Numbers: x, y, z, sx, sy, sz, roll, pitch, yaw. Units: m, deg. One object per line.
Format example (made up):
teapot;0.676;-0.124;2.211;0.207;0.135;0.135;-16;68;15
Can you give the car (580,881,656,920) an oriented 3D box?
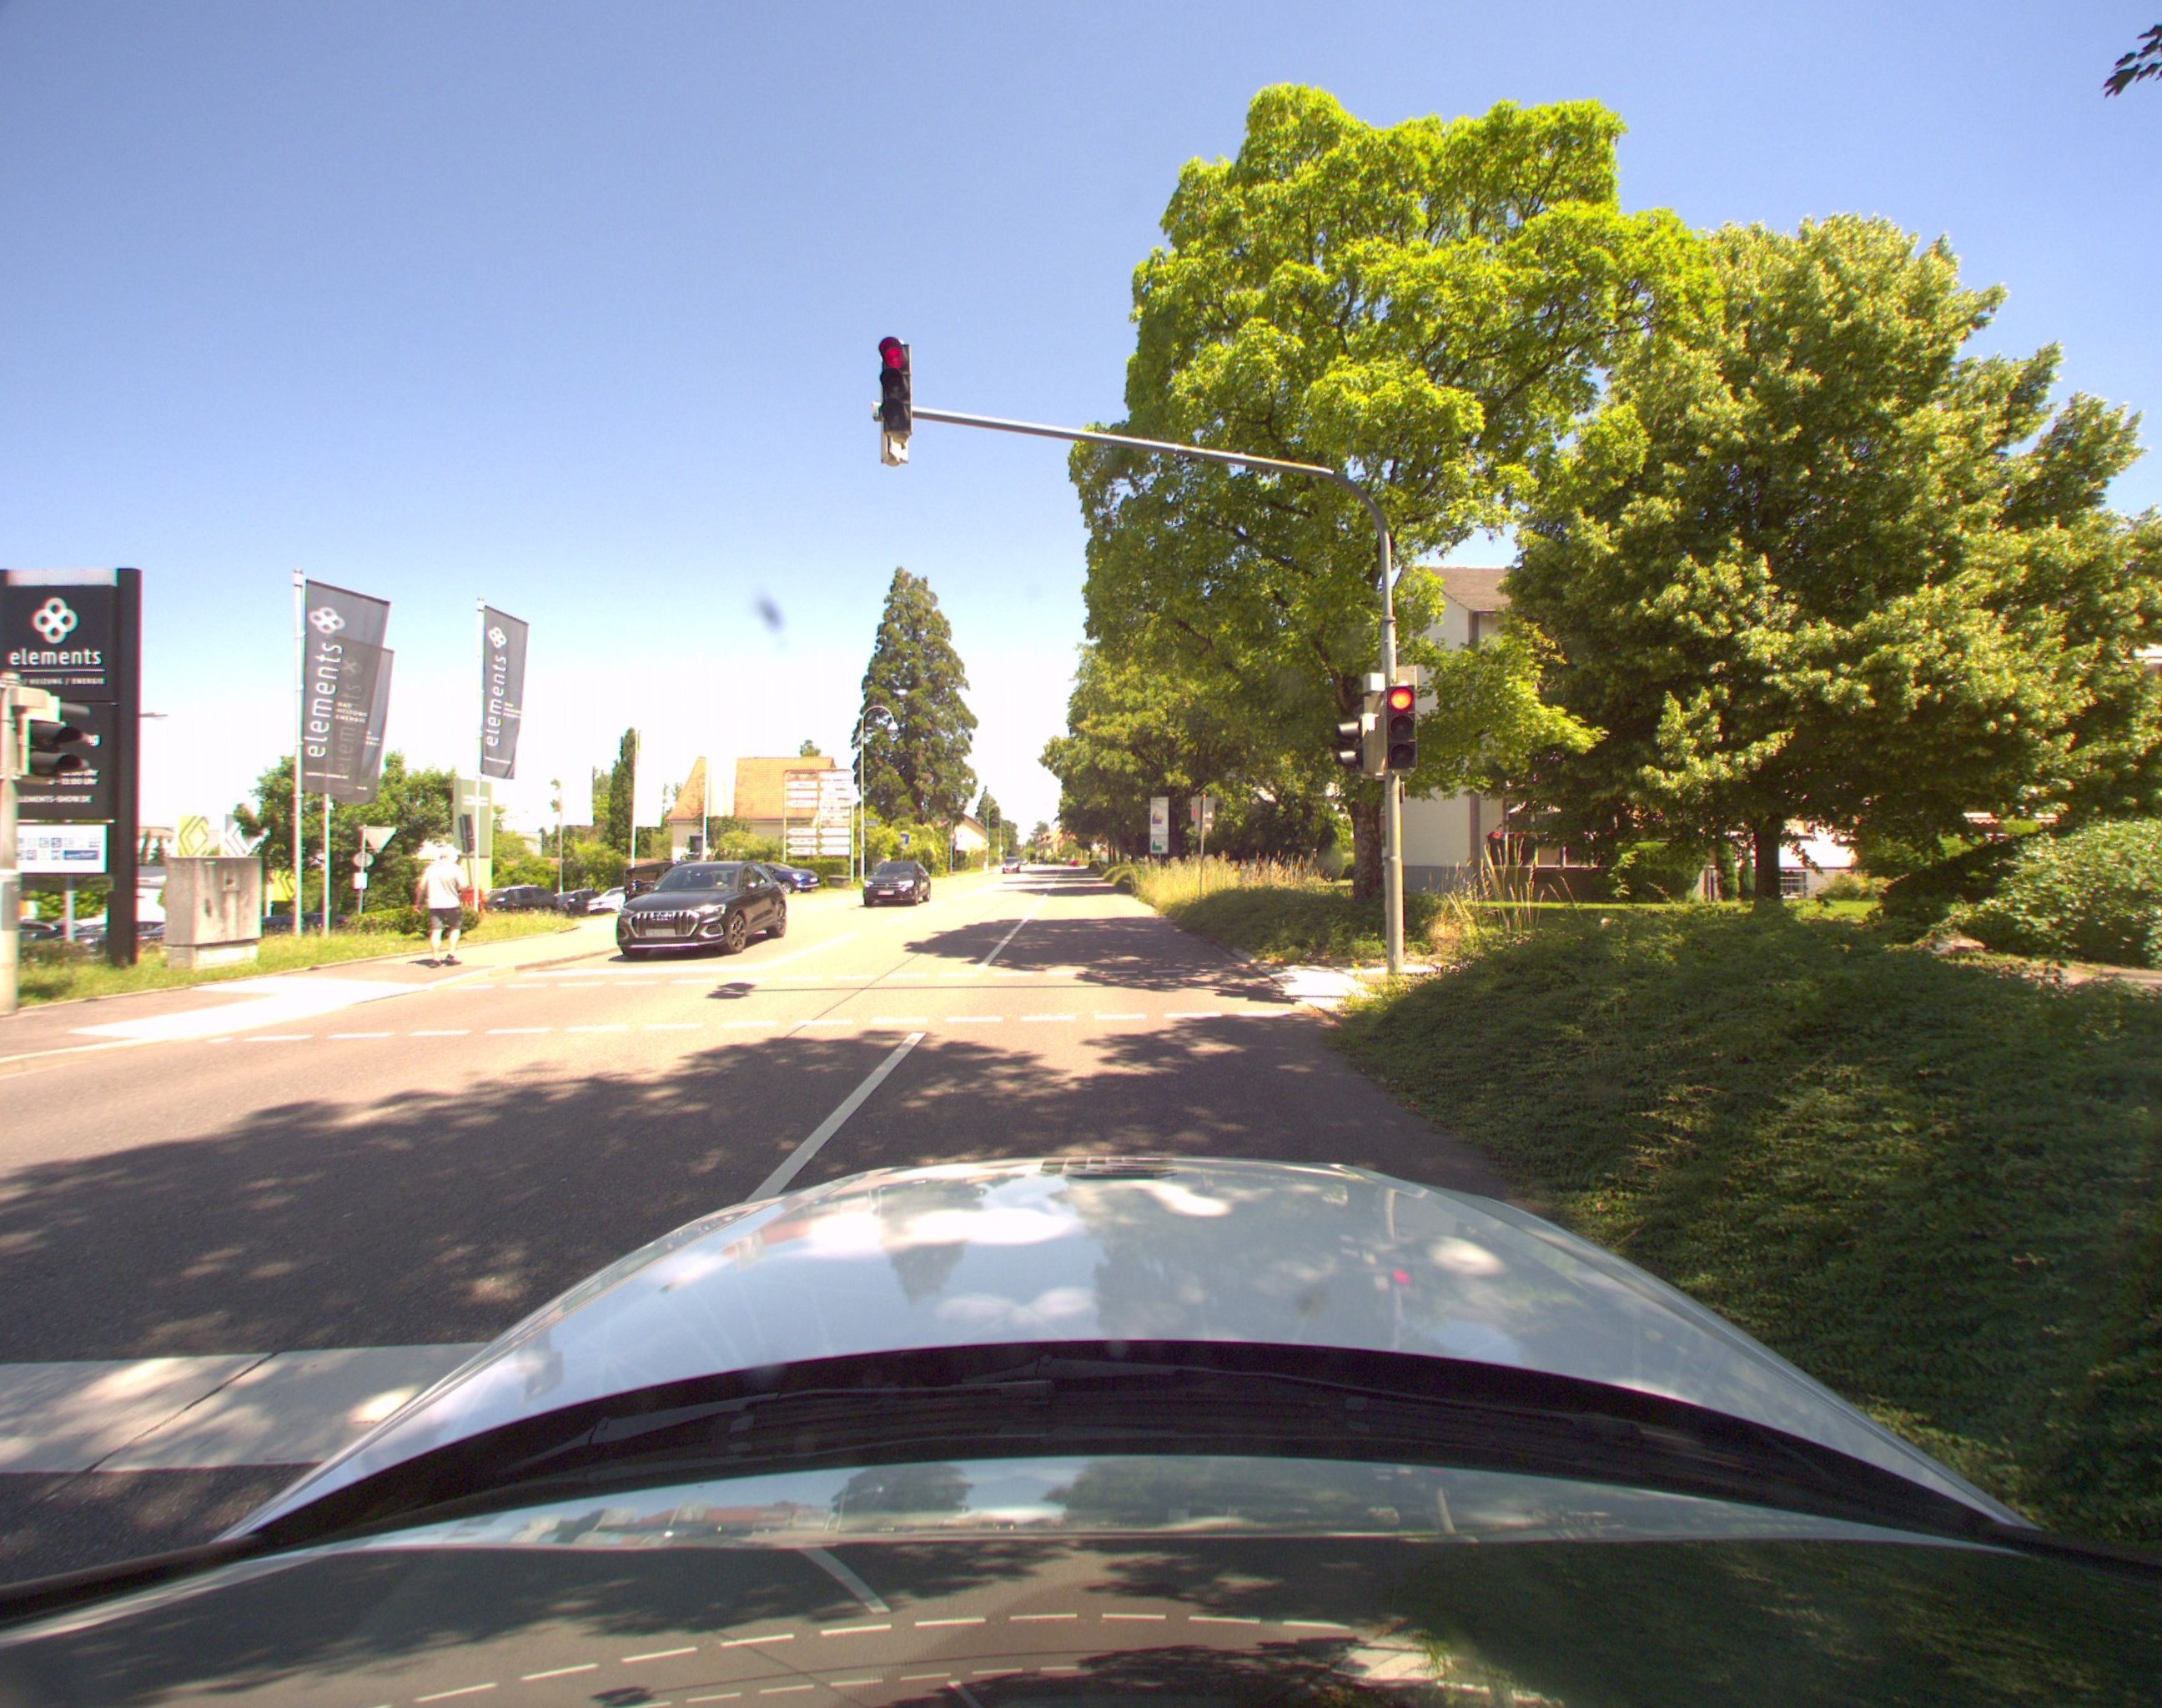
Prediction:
car;-23.296;2.290;41.171;1.806;1.722;4.081;0;0;-6

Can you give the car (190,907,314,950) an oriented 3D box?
car;-34.223;3.037;33.774;1.648;1.415;3.854;-1;0;-10

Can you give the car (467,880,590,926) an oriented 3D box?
car;-23.349;2.018;34.618;1.795;1.721;4.106;0;0;16

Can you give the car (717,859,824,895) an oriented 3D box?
car;-13.935;1.024;36.604;4.109;1.504;1.782;-1;0;10

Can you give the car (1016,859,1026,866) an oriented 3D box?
car;-12.573;1.758;171.814;1.788;1.536;4.313;-1;0;-1

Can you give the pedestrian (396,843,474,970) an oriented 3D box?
pedestrian;-9.286;0.725;11.721;0.538;1.761;0.706;-1;-1;28

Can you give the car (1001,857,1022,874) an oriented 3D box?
car;-7.438;1.219;87.341;1.804;1.762;4.571;0;0;1

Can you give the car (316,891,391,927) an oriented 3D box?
car;-40.185;3.009;45.122;1.816;1.722;4.059;0;0;-22

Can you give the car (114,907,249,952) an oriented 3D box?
car;-37.188;3.069;33.829;1.754;1.486;3.983;-1;0;-12

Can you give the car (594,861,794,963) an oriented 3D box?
car;-6.881;0.935;15.062;1.923;1.555;4.295;-1;0;-5

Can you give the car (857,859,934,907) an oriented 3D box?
car;-6.347;0.957;28.287;1.864;1.507;4.049;-1;0;-2
